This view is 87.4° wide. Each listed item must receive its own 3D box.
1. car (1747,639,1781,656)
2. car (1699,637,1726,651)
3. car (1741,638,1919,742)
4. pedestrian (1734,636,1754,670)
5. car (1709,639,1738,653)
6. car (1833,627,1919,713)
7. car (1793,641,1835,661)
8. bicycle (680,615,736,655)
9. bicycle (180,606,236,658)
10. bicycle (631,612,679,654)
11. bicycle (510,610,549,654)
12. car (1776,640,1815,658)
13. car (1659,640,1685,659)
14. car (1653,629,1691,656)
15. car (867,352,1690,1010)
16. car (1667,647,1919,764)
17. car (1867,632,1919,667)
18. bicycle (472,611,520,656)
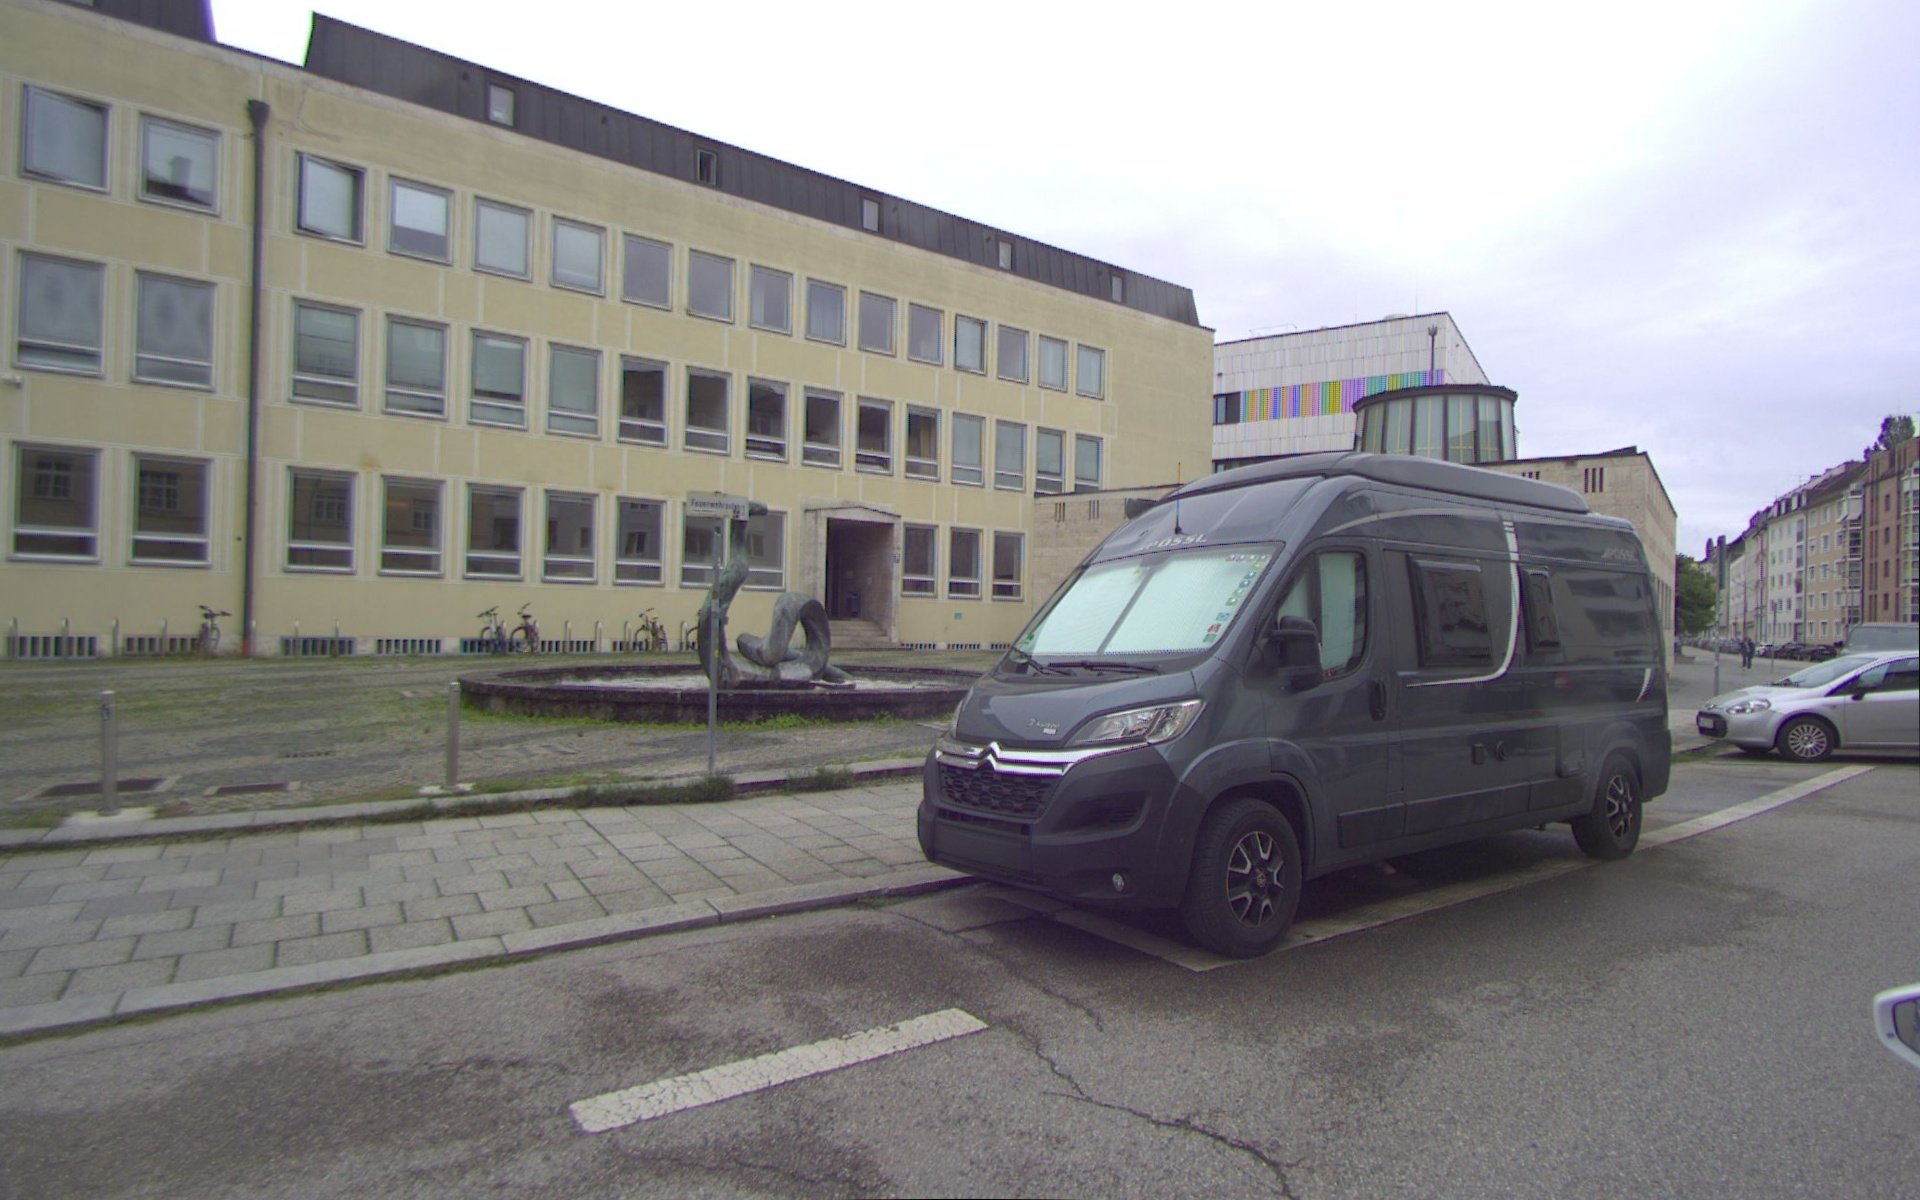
[{"bbox_3d":[80.184,4.732,100.220,1.779,1.492,4.113,1,0,26],"label":"car"},{"bbox_3d":[89.212,5.149,119.064,1.779,1.492,4.113,1,0,26],"label":"car"},{"bbox_3d":[15.073,1.417,15.841,4.006,1.501,1.685,1,-1,20],"label":"car"},{"bbox_3d":[40.239,2.704,51.558,0.742,1.725,0.922,2,0,40],"label":"pedestrian"},{"bbox_3d":[87.219,5.229,114.765,1.779,1.492,4.113,1,0,26],"label":"car"},{"bbox_3d":[20.865,1.514,22.733,1.660,1.729,4.490,1,-1,41],"label":"car"},{"bbox_3d":[74.426,4.417,87.581,1.779,1.492,4.113,1,0,26],"label":"car"},{"bbox_3d":[-6.845,0.941,27.227,0.621,1.028,1.929,1,-1,-42],"label":"bicycle"},{"bbox_3d":[-15.848,0.659,21.202,0.618,1.028,1.939,1,-1,-28],"label":"bicycle"},{"bbox_3d":[-8.100,0.857,26.592,0.619,1.028,1.933,1,-1,-35],"label":"bicycle"},{"bbox_3d":[-10.759,0.778,25.054,0.618,1.028,1.936,1,-1,-31],"label":"bicycle"},{"bbox_3d":[76.278,4.461,91.781,1.779,1.492,4.113,1,0,26],"label":"car"},{"bbox_3d":[70.763,4.928,99.914,1.890,1.769,4.764,1,-1,34],"label":"car"},{"bbox_3d":[48.808,2.878,68.916,1.890,1.769,4.764,1,-1,34],"label":"car"},{"bbox_3d":[2.490,0.414,6.728,5.959,2.676,2.149,2,-2,-36],"label":"car"},{"bbox_3d":[12.434,1.440,13.847,4.005,1.500,1.686,-1,-5,18],"label":"car"},{"bbox_3d":[56.736,2.983,61.110,1.687,1.971,3.989,1,-1,33],"label":"car"},{"bbox_3d":[-11.207,0.800,24.244,0.620,1.028,1.932,1,-1,-38],"label":"bicycle"}]
